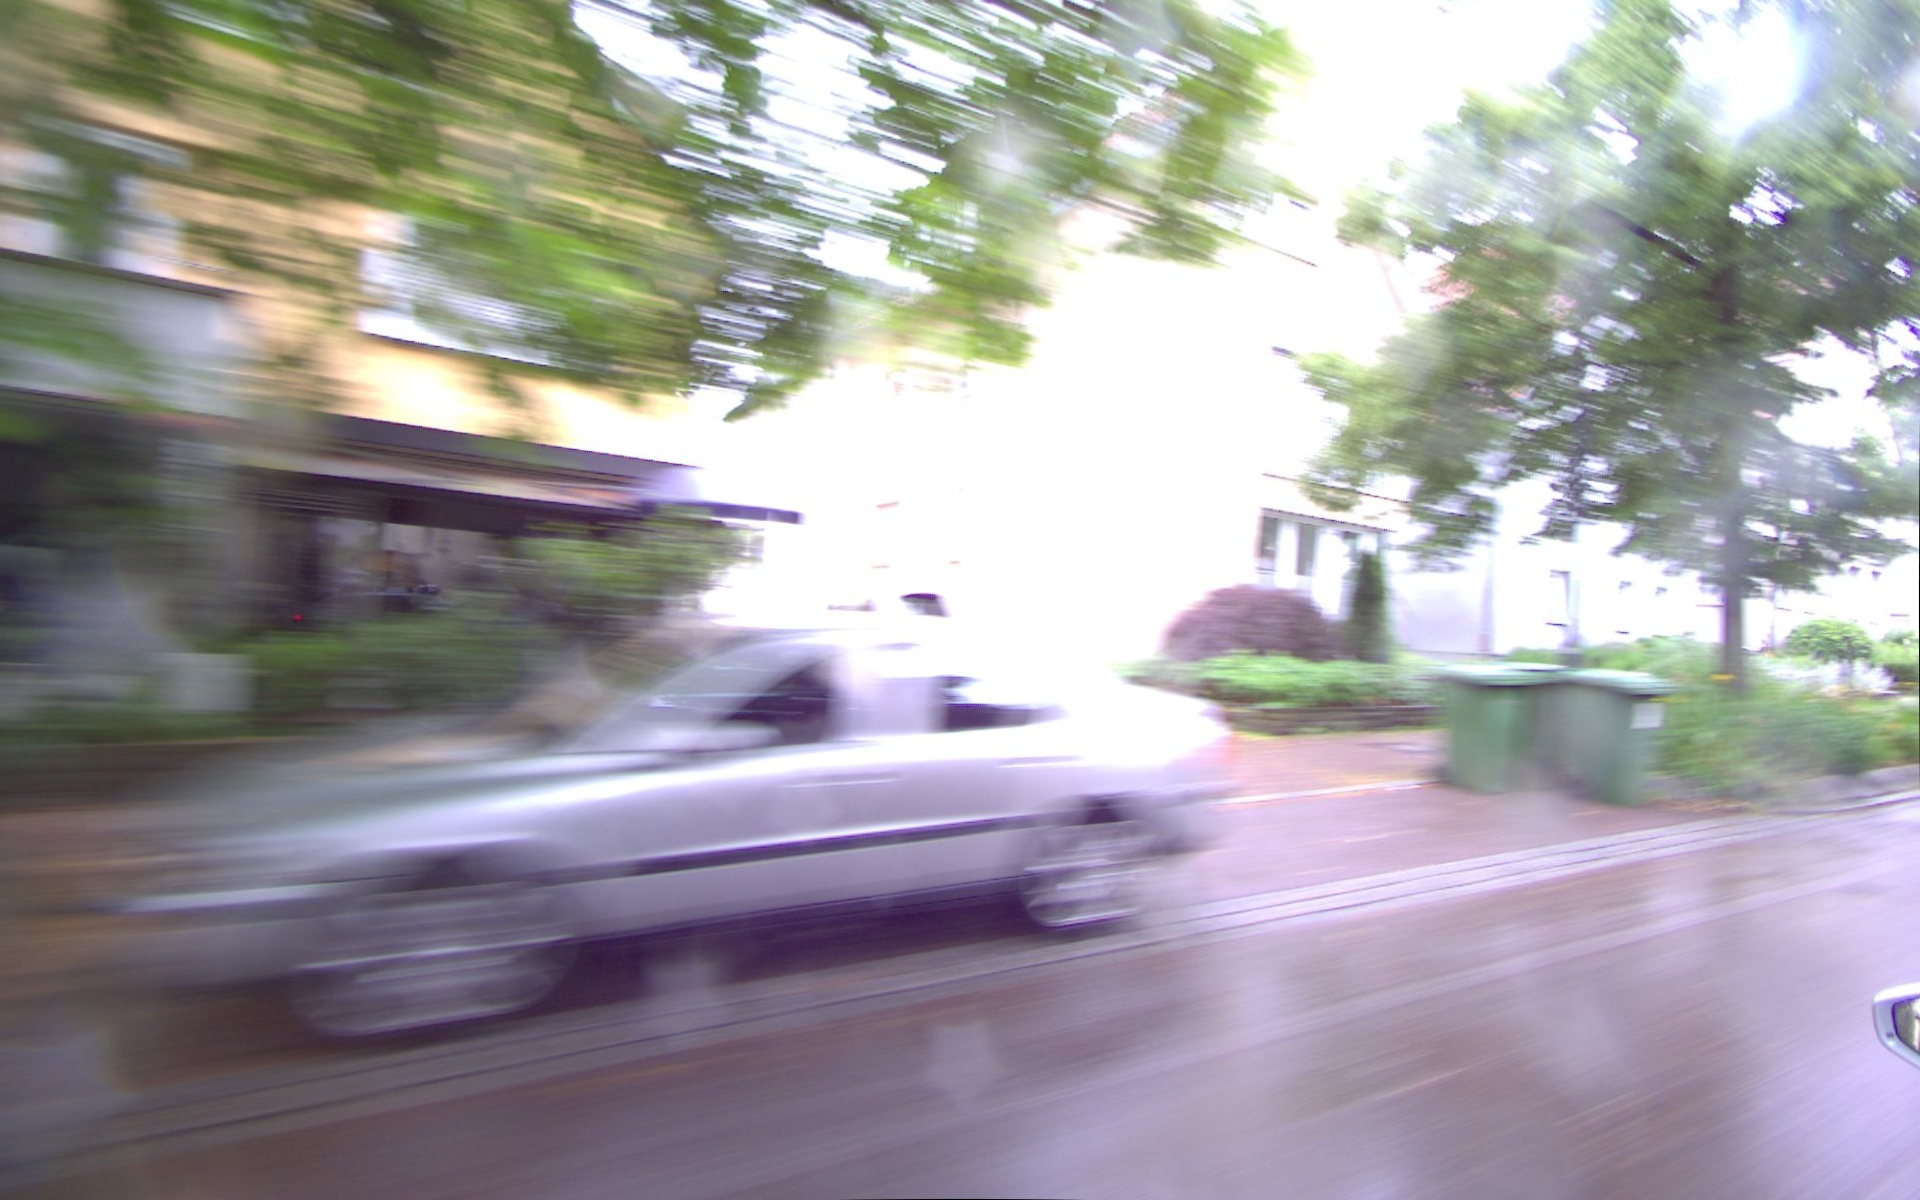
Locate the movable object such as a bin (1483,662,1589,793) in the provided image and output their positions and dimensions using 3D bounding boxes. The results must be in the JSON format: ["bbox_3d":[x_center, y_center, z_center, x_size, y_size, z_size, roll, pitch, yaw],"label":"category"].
[{"bbox_3d":[5.187,1.126,9.053,0.538,1.077,0.593,2,1,-26],"label":"movable object such as a bin"}]

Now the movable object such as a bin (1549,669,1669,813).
[{"bbox_3d":[5.380,1.142,8.341,0.538,1.077,0.593,1,3,-26],"label":"movable object such as a bin"}]

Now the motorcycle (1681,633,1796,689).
[{"bbox_3d":[18.393,1.424,23.780,0.808,1.177,1.973,2,0,-29],"label":"motorcycle"}]

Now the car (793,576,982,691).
[{"bbox_3d":[-1.281,0.466,16.272,1.618,1.497,3.552,2,3,-30],"label":"car"}]

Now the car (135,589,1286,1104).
[{"bbox_3d":[-0.773,0.750,4.707,4.490,1.407,1.764,2,1,-29],"label":"car"}]

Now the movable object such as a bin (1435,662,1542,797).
[{"bbox_3d":[4.607,1.104,8.769,0.538,1.077,0.593,2,1,-26],"label":"movable object such as a bin"}]
